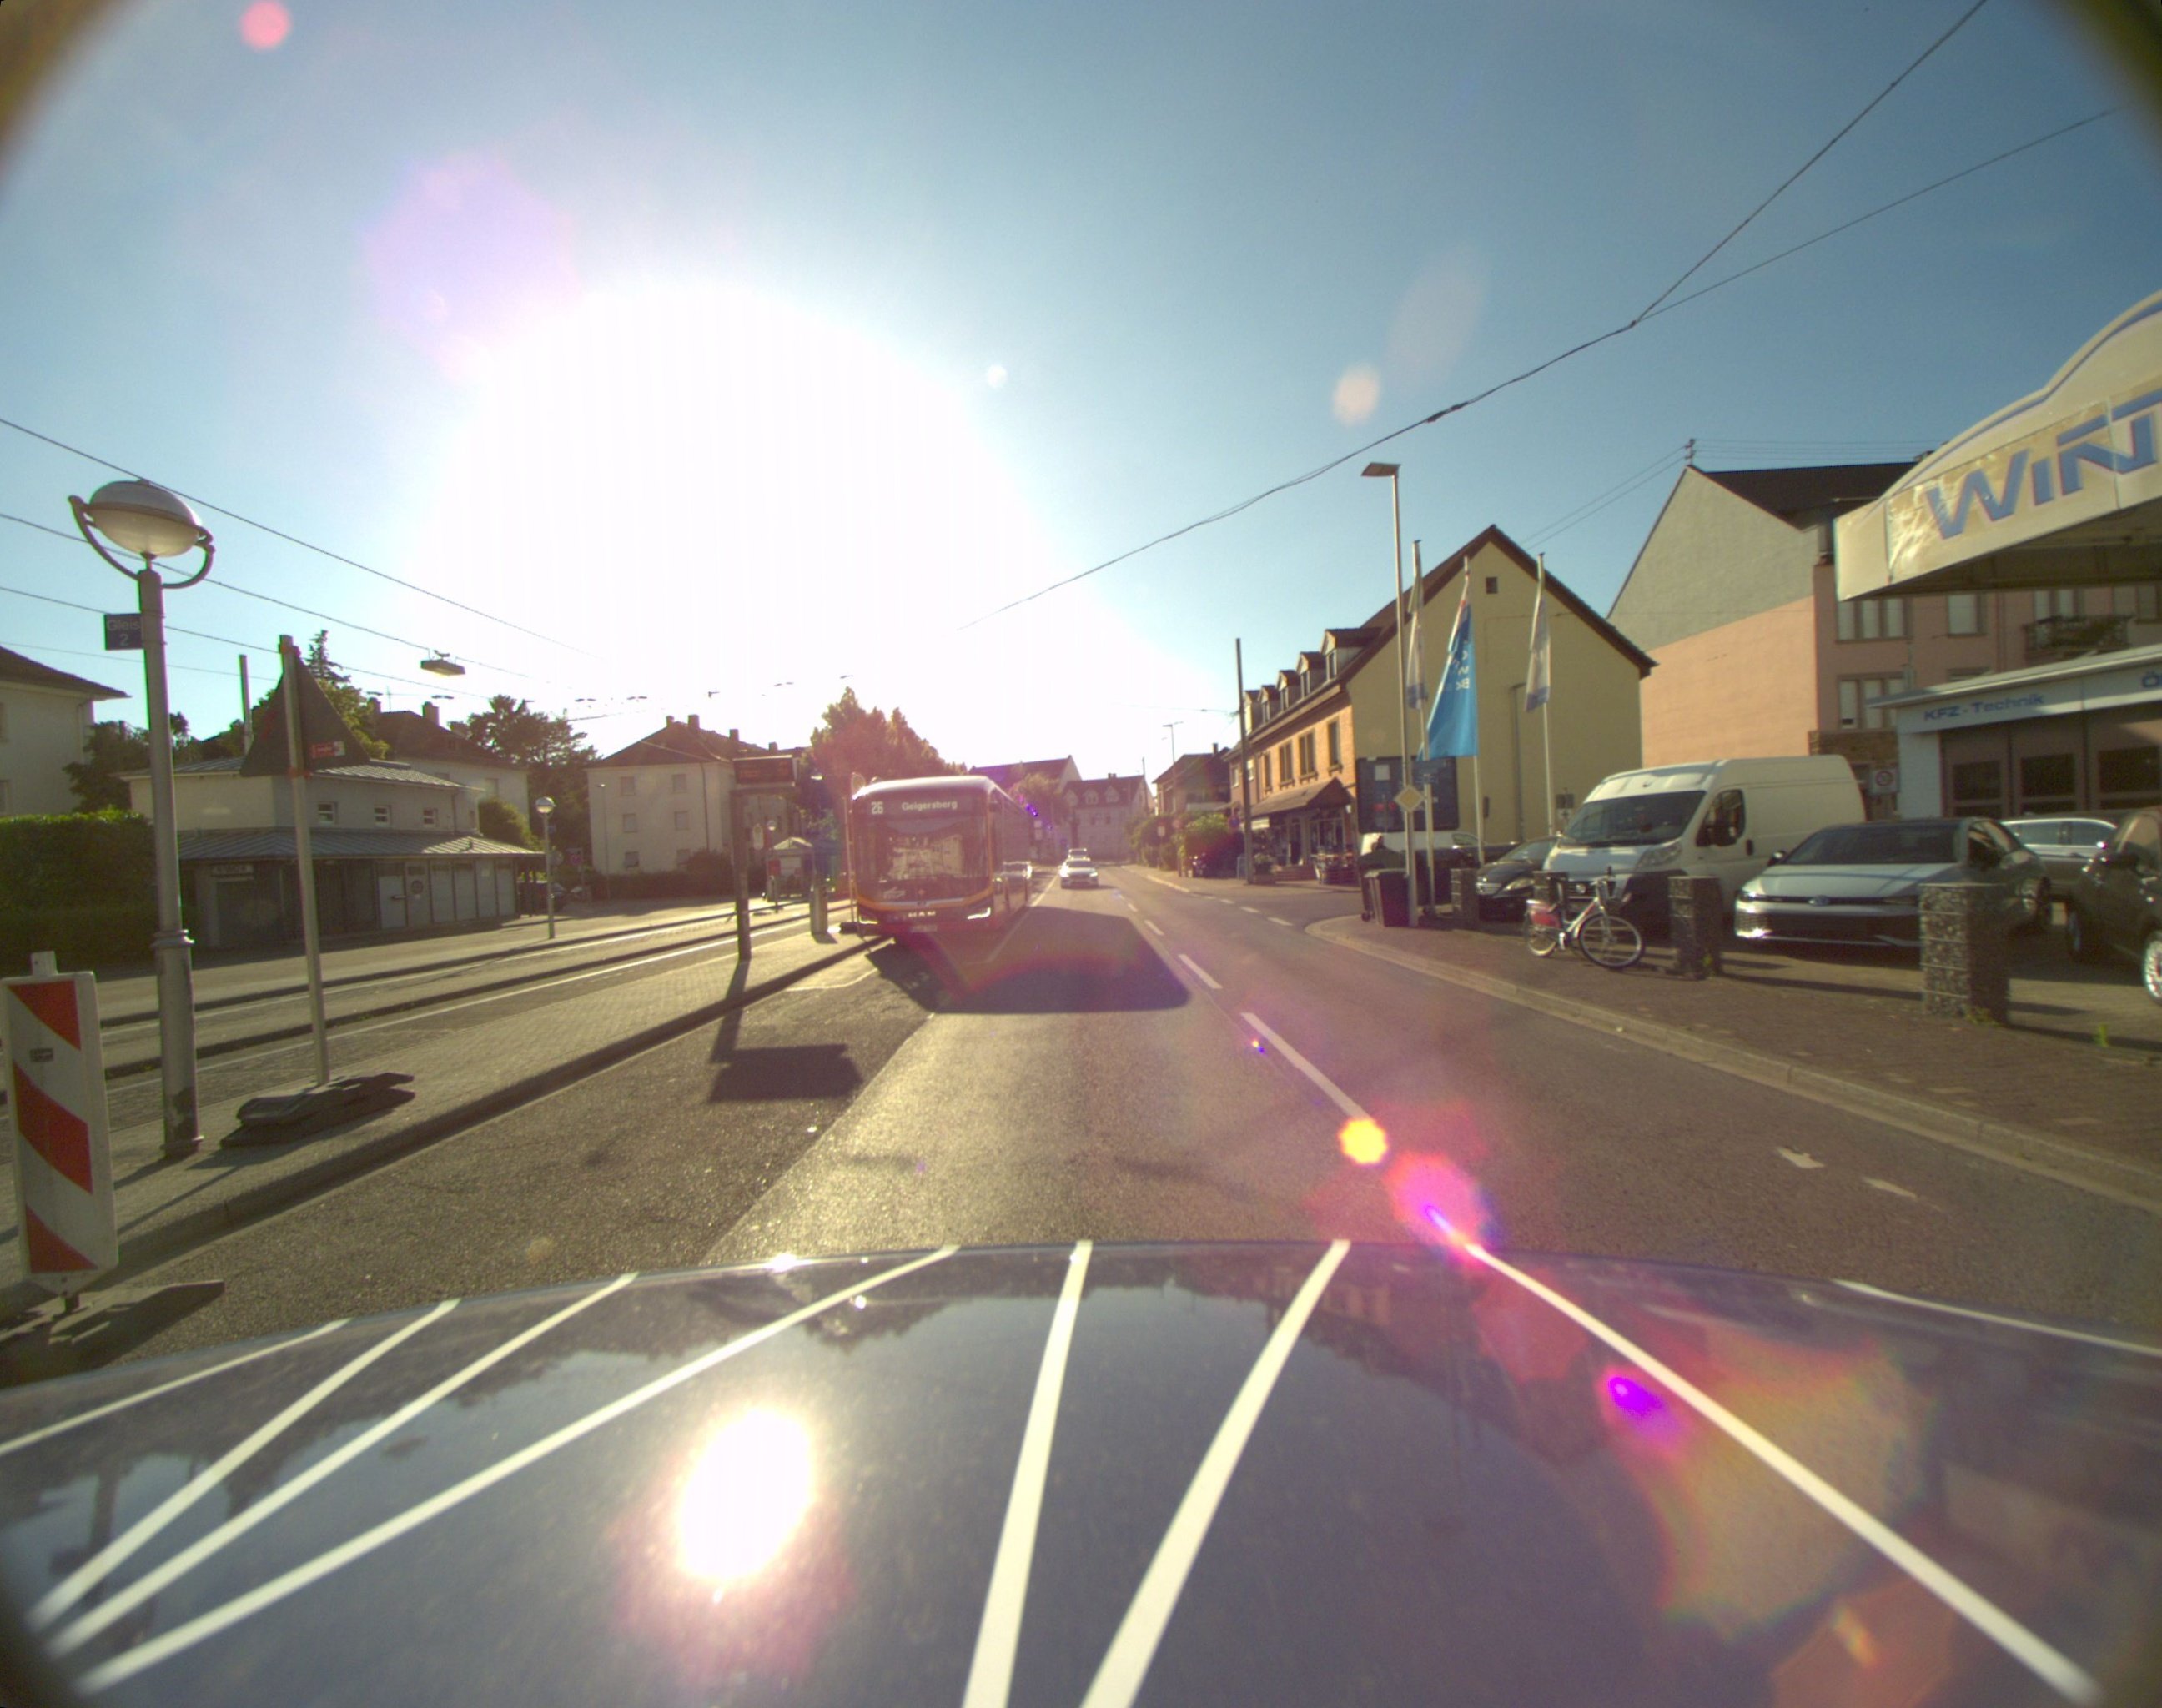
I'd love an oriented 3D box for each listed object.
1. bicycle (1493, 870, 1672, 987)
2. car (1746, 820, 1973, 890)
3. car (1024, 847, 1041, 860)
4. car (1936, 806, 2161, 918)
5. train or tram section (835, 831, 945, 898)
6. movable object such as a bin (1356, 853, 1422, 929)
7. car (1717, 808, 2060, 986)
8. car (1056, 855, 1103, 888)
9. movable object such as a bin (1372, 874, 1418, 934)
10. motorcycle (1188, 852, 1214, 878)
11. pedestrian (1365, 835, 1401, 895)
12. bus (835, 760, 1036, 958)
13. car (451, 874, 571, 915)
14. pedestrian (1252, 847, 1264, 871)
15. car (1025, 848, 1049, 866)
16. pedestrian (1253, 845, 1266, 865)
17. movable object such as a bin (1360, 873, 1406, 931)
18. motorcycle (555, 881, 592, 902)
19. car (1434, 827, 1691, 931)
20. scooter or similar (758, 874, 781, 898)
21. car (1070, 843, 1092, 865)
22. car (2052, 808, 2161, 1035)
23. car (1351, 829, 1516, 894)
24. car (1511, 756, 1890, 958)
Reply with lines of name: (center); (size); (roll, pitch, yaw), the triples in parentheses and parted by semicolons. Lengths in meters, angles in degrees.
bicycle: (5.862, 0.810, 9.028); (0.725, 1.171, 1.779); (-3, 1, -9)
car: (20.723, -0.011, 20.372); (3.997, 1.517, 1.998); (-3, 5, 0)
car: (-6.850, -0.097, 106.965); (1.998, 1.664, 4.000); (-2, 0, 1)
car: (16.339, 0.077, 11.520); (1.772, 1.559, 4.315); (-4, 0, -1)
train or tram section: (-11.707, 0.361, 48.809); (2.965, 3.514, 15.964); (-2, 1, 0)
movable object such as a bin: (6.412, 0.757, 15.773); (1.055, 1.473, 1.315); (-4, -3, 28)
car: (9.439, 0.371, 8.838); (4.005, 1.559, 1.769); (-4, 0, -29)
car: (-0.002, 0.824, 38.530); (1.998, 1.454, 4.450); (-3, 0, 4)
movable object such as a bin: (5.821, 0.915, 14.115); (0.641, 1.063, 0.581); (-3, -2, 12)
motorcycle: (6.280, 0.558, 39.889); (0.841, 1.275, 2.231); (-4, 1, -3)
pedestrian: (9.725, 0.357, 24.476); (0.794, 1.857, 0.820); (-3, 1, 2)
bus: (-2.930, 0.074, 19.509); (2.695, 3.396, 12.017); (-3, 0, 0)
car: (-27.991, 1.979, 37.391); (4.448, 1.759, 2.000); (-1, 1, 4)
pedestrian: (9.652, 0.260, 41.473); (0.524, 1.251, 0.465); (-3, 1, 1)
car: (-4.341, 0.325, 74.935); (1.998, 1.664, 4.000); (-2, 0, 1)
pedestrian: (9.456, 0.060, 40.233); (0.525, 1.041, 0.383); (-3, 1, -16)
movable object such as a bin: (5.848, 0.930, 14.756); (0.661, 1.056, 0.585); (-5, -1, 12)
motorcycle: (-31.051, 2.309, 46.511); (1.826, 1.155, 0.558); (-3, 1, -3)
car: (9.037, 0.429, 14.361); (4.001, 1.559, 1.771); (-4, 0, -14)
scooter or similar: (-16.332, 1.669, 39.816); (0.467, 1.201, 1.210); (-2, 1, 11)
car: (-0.075, -0.012, 74.997); (1.871, 1.922, 4.791); (-4, 0, -2)
car: (9.093, 0.418, 5.764); (1.617, 1.559, 3.400); (-2, 1, 43)
car: (11.847, 0.226, 25.762); (4.627, 1.922, 1.999); (-2, 1, -2)
car: (9.233, -0.060, 11.327); (5.076, 2.455, 2.105); (-4, 1, -22)
